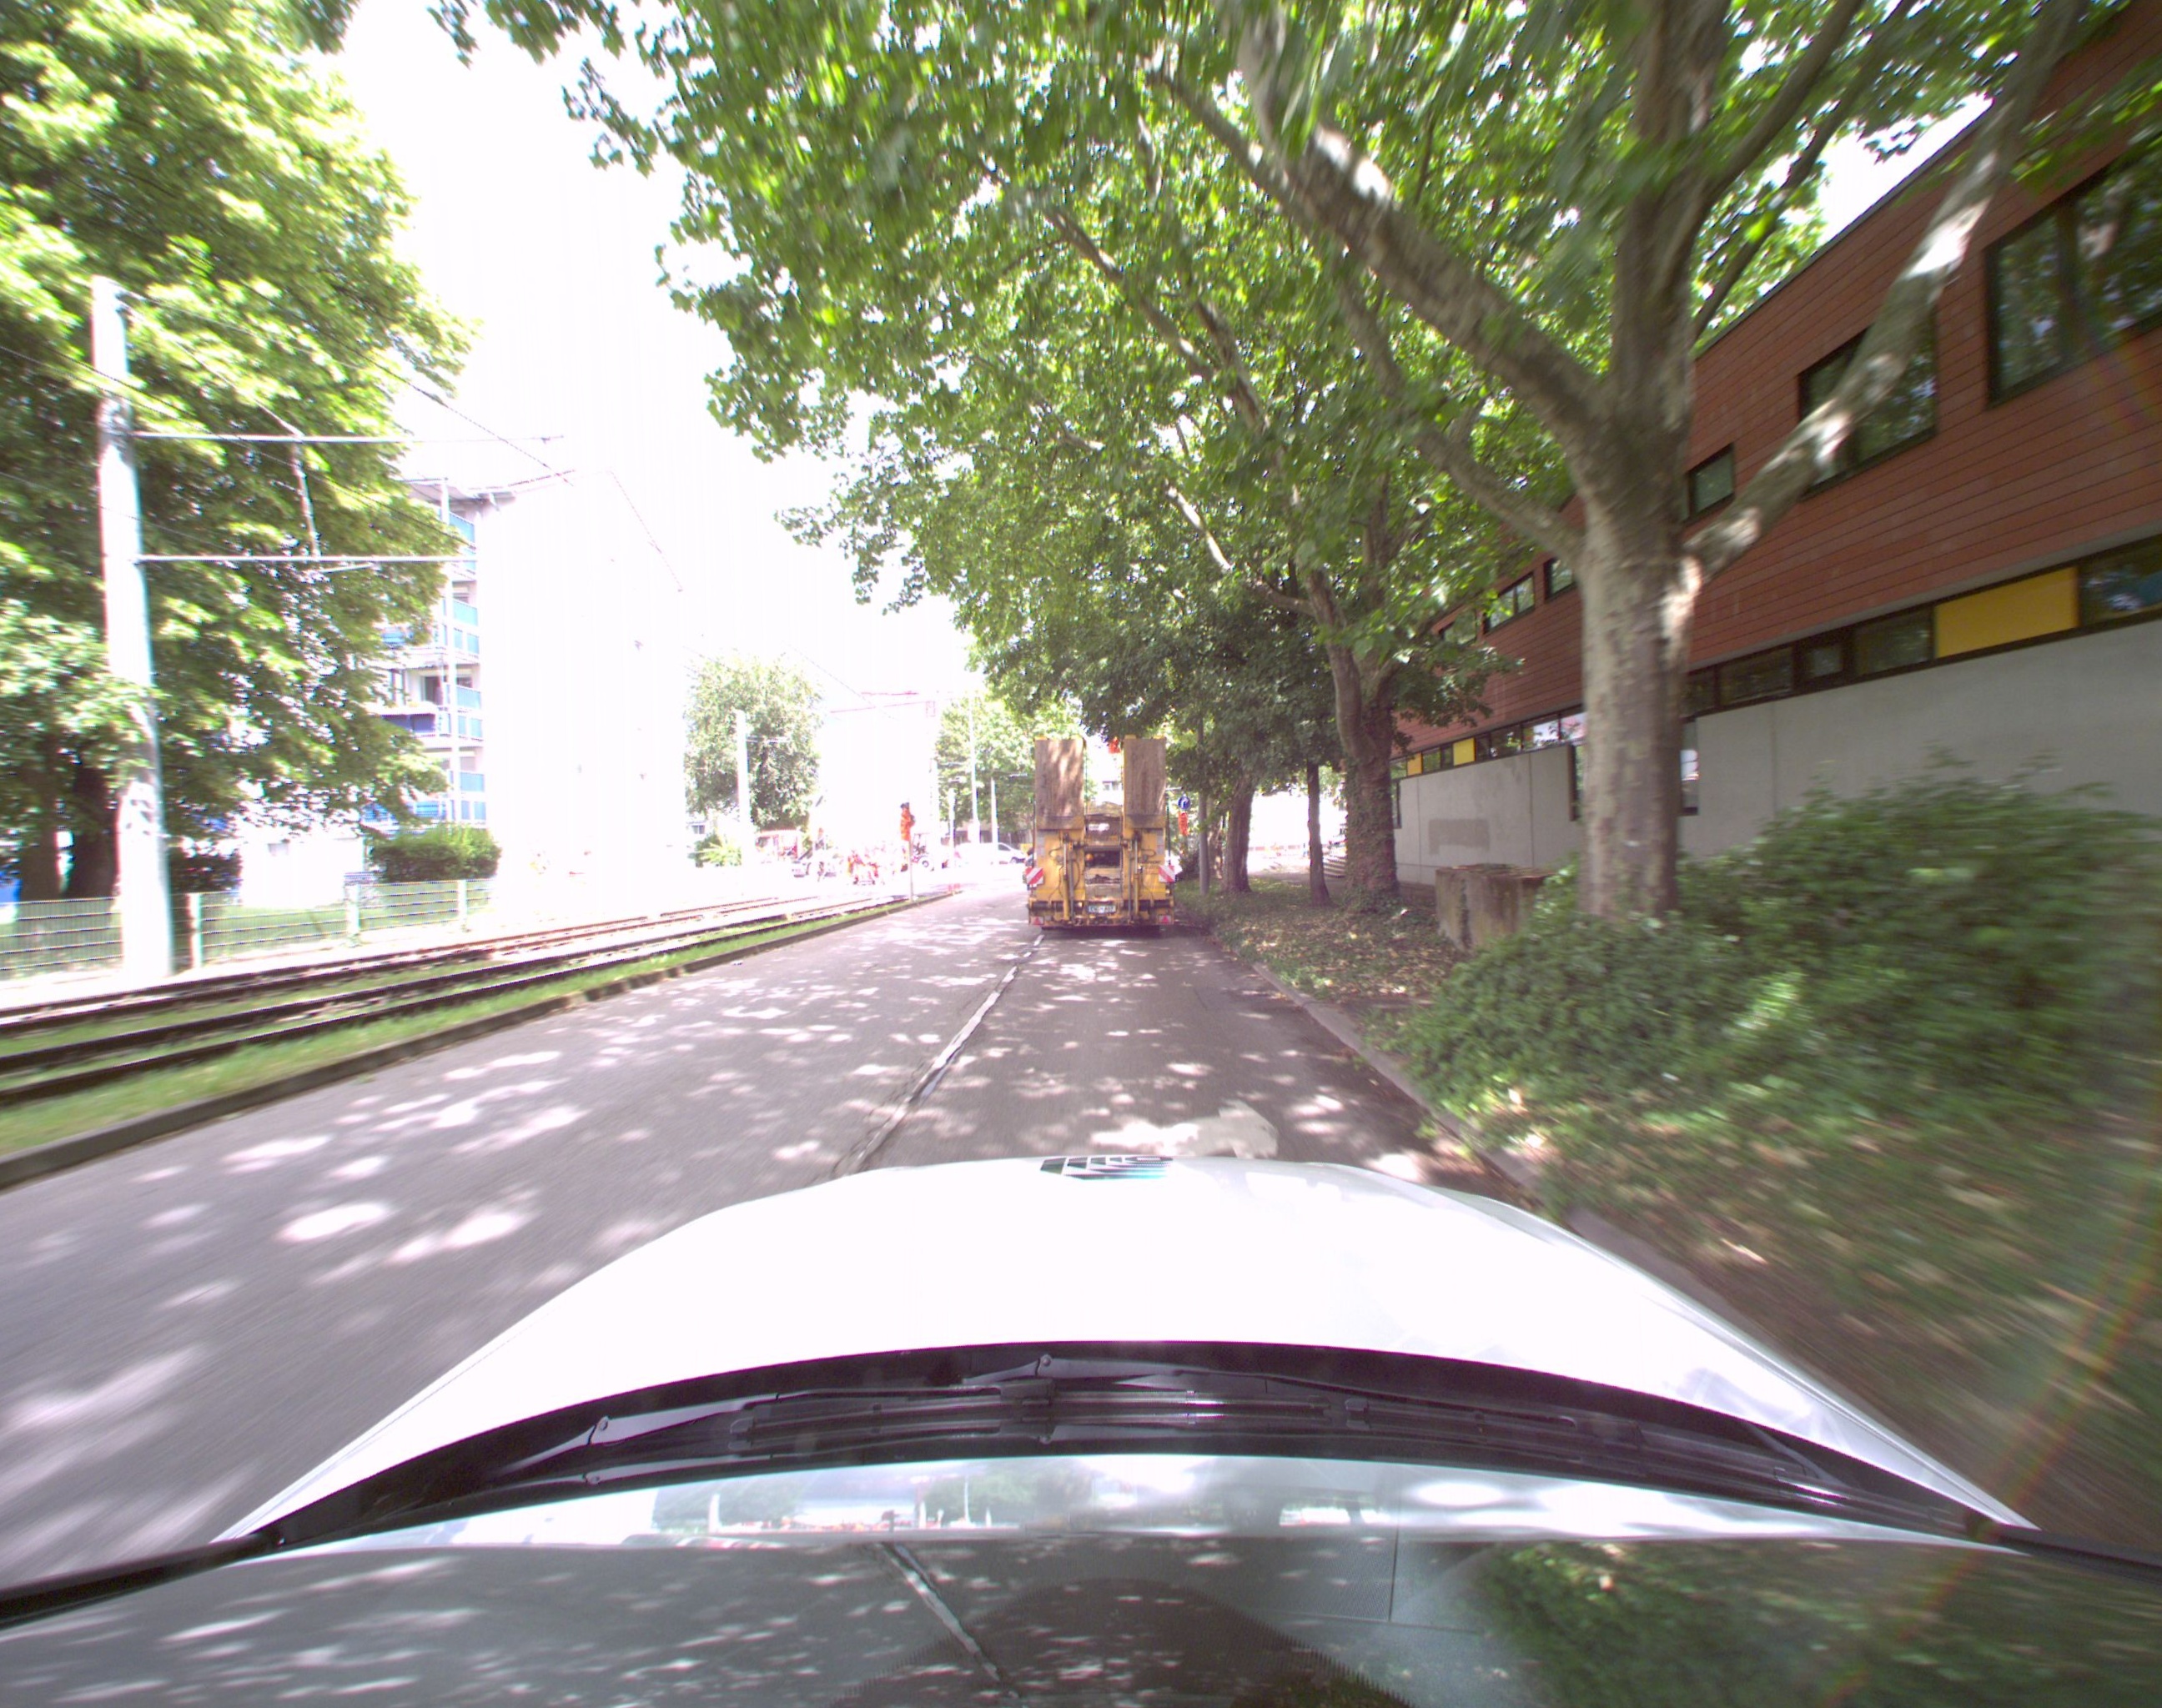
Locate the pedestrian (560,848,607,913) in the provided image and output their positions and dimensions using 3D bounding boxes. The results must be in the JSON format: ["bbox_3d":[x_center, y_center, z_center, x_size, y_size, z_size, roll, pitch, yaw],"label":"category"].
[{"bbox_3d":[-13.528,0.708,22.166,0.697,1.718,0.867,-1,0,2],"label":"pedestrian"}]

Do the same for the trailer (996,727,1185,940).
[{"bbox_3d":[0.438,-0.358,19.328,3.141,3.552,11.105,-1,0,3],"label":"trailer"}]

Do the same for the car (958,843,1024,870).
[{"bbox_3d":[-7.360,0.201,66.470,5.094,2.102,1.968,-1,0,-13],"label":"car"}]

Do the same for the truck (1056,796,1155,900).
[{"bbox_3d":[1.019,-0.193,28.842,2.976,3.135,7.896,-1,0,4],"label":"truck"}]

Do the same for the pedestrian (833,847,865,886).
[{"bbox_3d":[-10.688,0.567,37.465,1.117,1.715,0.877,-1,0,-43],"label":"pedestrian"}]

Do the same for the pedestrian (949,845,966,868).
[{"bbox_3d":[-7.963,0.151,52.495,0.913,1.409,0.753,-1,0,-1],"label":"pedestrian"}]

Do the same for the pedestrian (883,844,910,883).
[{"bbox_3d":[-8.826,0.451,38.918,0.877,1.867,0.842,-1,0,30],"label":"pedestrian"}]

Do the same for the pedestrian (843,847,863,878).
[{"bbox_3d":[-12.266,0.470,43.887,0.884,1.645,0.897,-1,0,-7],"label":"pedestrian"}]

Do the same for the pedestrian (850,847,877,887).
[{"bbox_3d":[-9.570,0.567,35.856,0.881,1.760,0.839,-1,0,7],"label":"pedestrian"}]

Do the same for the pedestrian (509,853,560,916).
[{"bbox_3d":[-14.533,0.794,21.678,0.729,1.625,0.867,-1,0,2],"label":"pedestrian"}]

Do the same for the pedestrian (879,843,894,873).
[{"bbox_3d":[-12.135,0.239,50.806,0.834,1.867,0.885,-1,0,-10],"label":"pedestrian"}]

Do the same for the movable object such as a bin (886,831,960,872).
[{"bbox_3d":[-10.500,-0.140,54.219,4.325,2.629,2.234,-1,0,28],"label":"movable object such as a bin"}]

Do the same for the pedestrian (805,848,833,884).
[{"bbox_3d":[-12.181,0.536,37.809,0.826,1.645,0.894,-1,0,33],"label":"pedestrian"}]

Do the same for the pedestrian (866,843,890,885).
[{"bbox_3d":[-9.185,0.455,36.869,0.890,1.867,0.830,-1,0,-27],"label":"pedestrian"}]

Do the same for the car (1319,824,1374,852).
[{"bbox_3d":[23.181,-1.400,71.100,4.261,2.365,2.140,-1,0,-26],"label":"car"}]

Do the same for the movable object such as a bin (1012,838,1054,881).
[{"bbox_3d":[-2.332,0.256,40.332,1.389,2.013,2.565,-1,0,13],"label":"movable object such as a bin"}]

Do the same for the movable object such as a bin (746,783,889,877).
[{"bbox_3d":[-16.354,-1.345,50.213,9.115,5.414,2.680,-1,0,28],"label":"movable object such as a bin"}]
